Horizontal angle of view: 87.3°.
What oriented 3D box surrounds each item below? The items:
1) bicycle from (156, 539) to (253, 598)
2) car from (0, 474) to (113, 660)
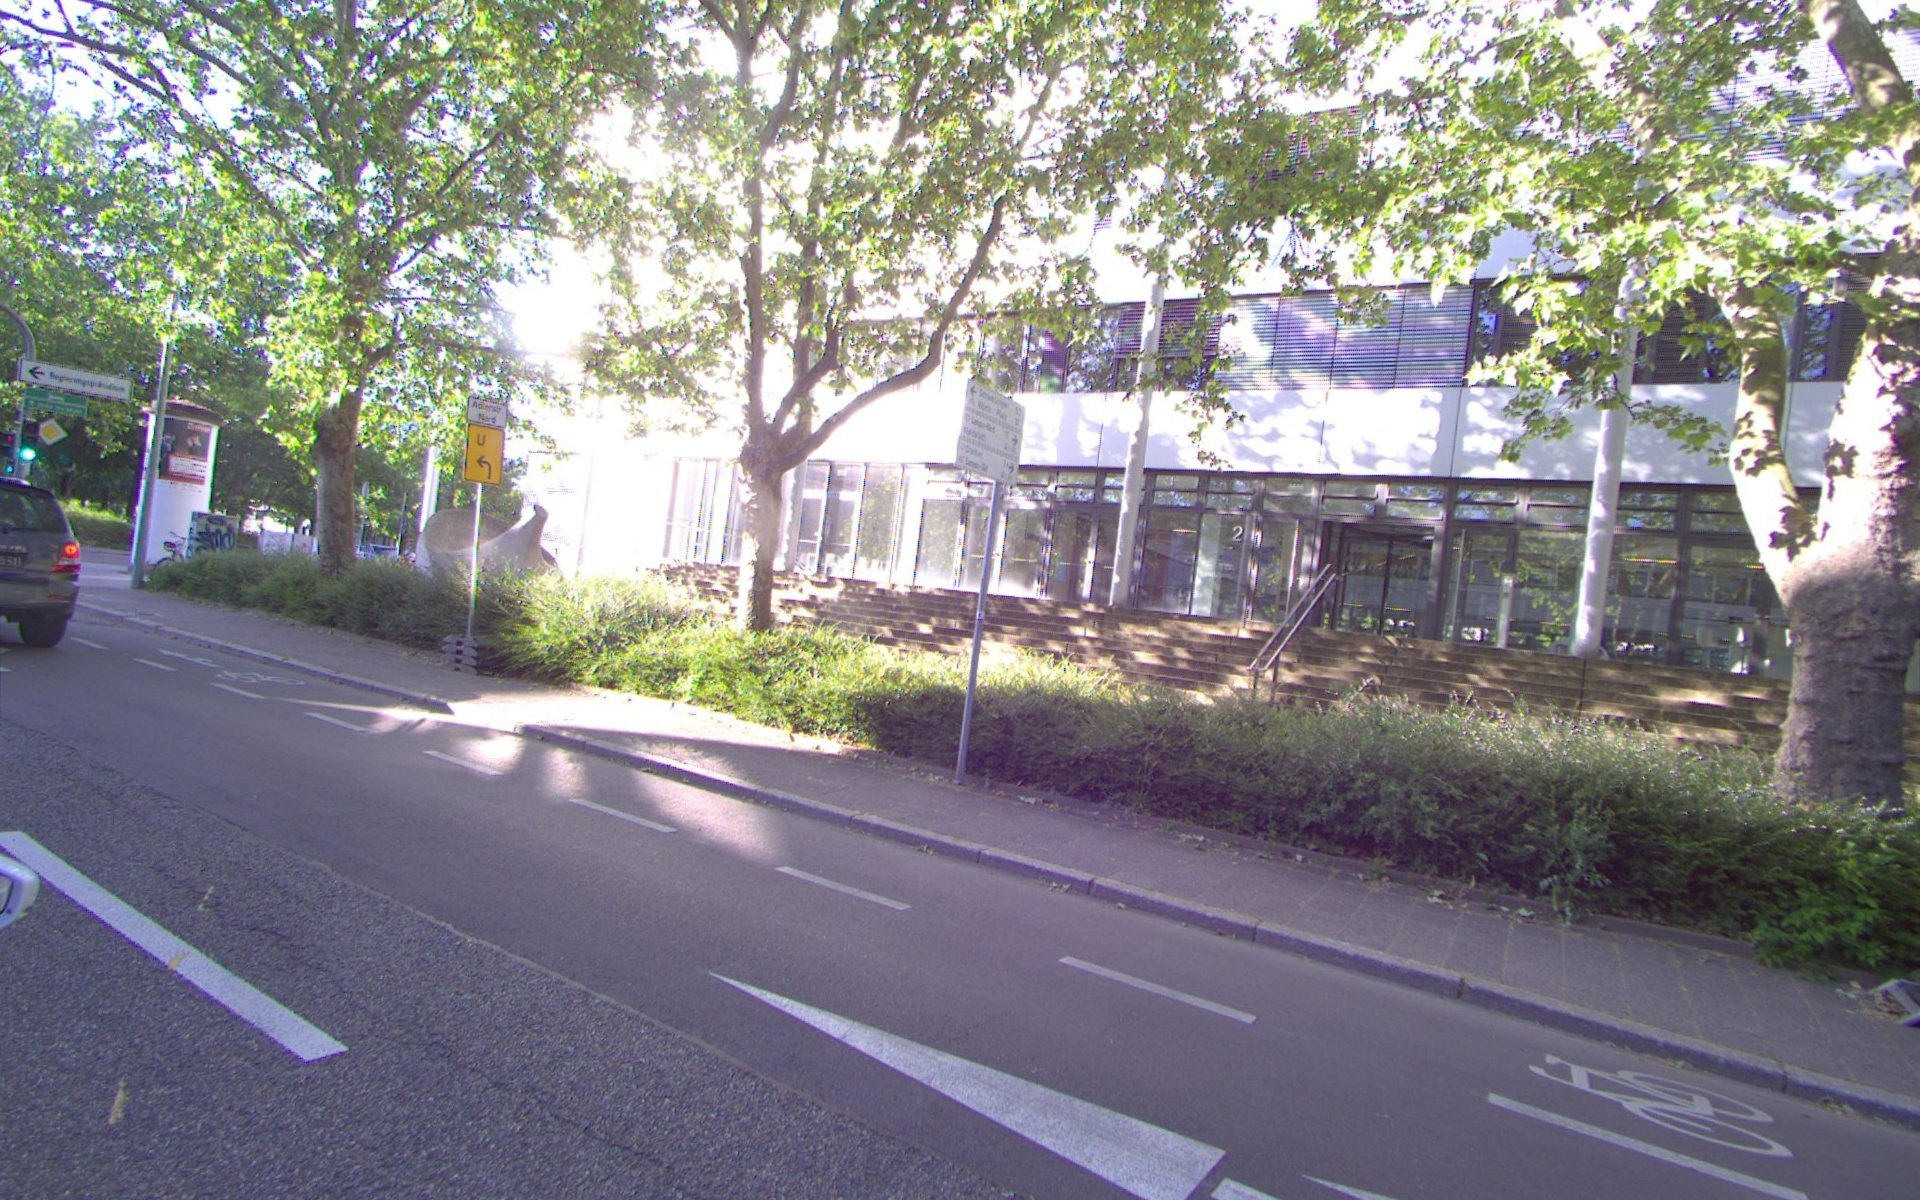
[{"bbox_3d":[-15.915,-0.637,21.248,0.631,1.040,1.887,7,-2,-5],"label":"bicycle"},{"bbox_3d":[-11.349,-0.563,10.939,4.407,1.784,1.865,7,-1,32],"label":"car"}]
